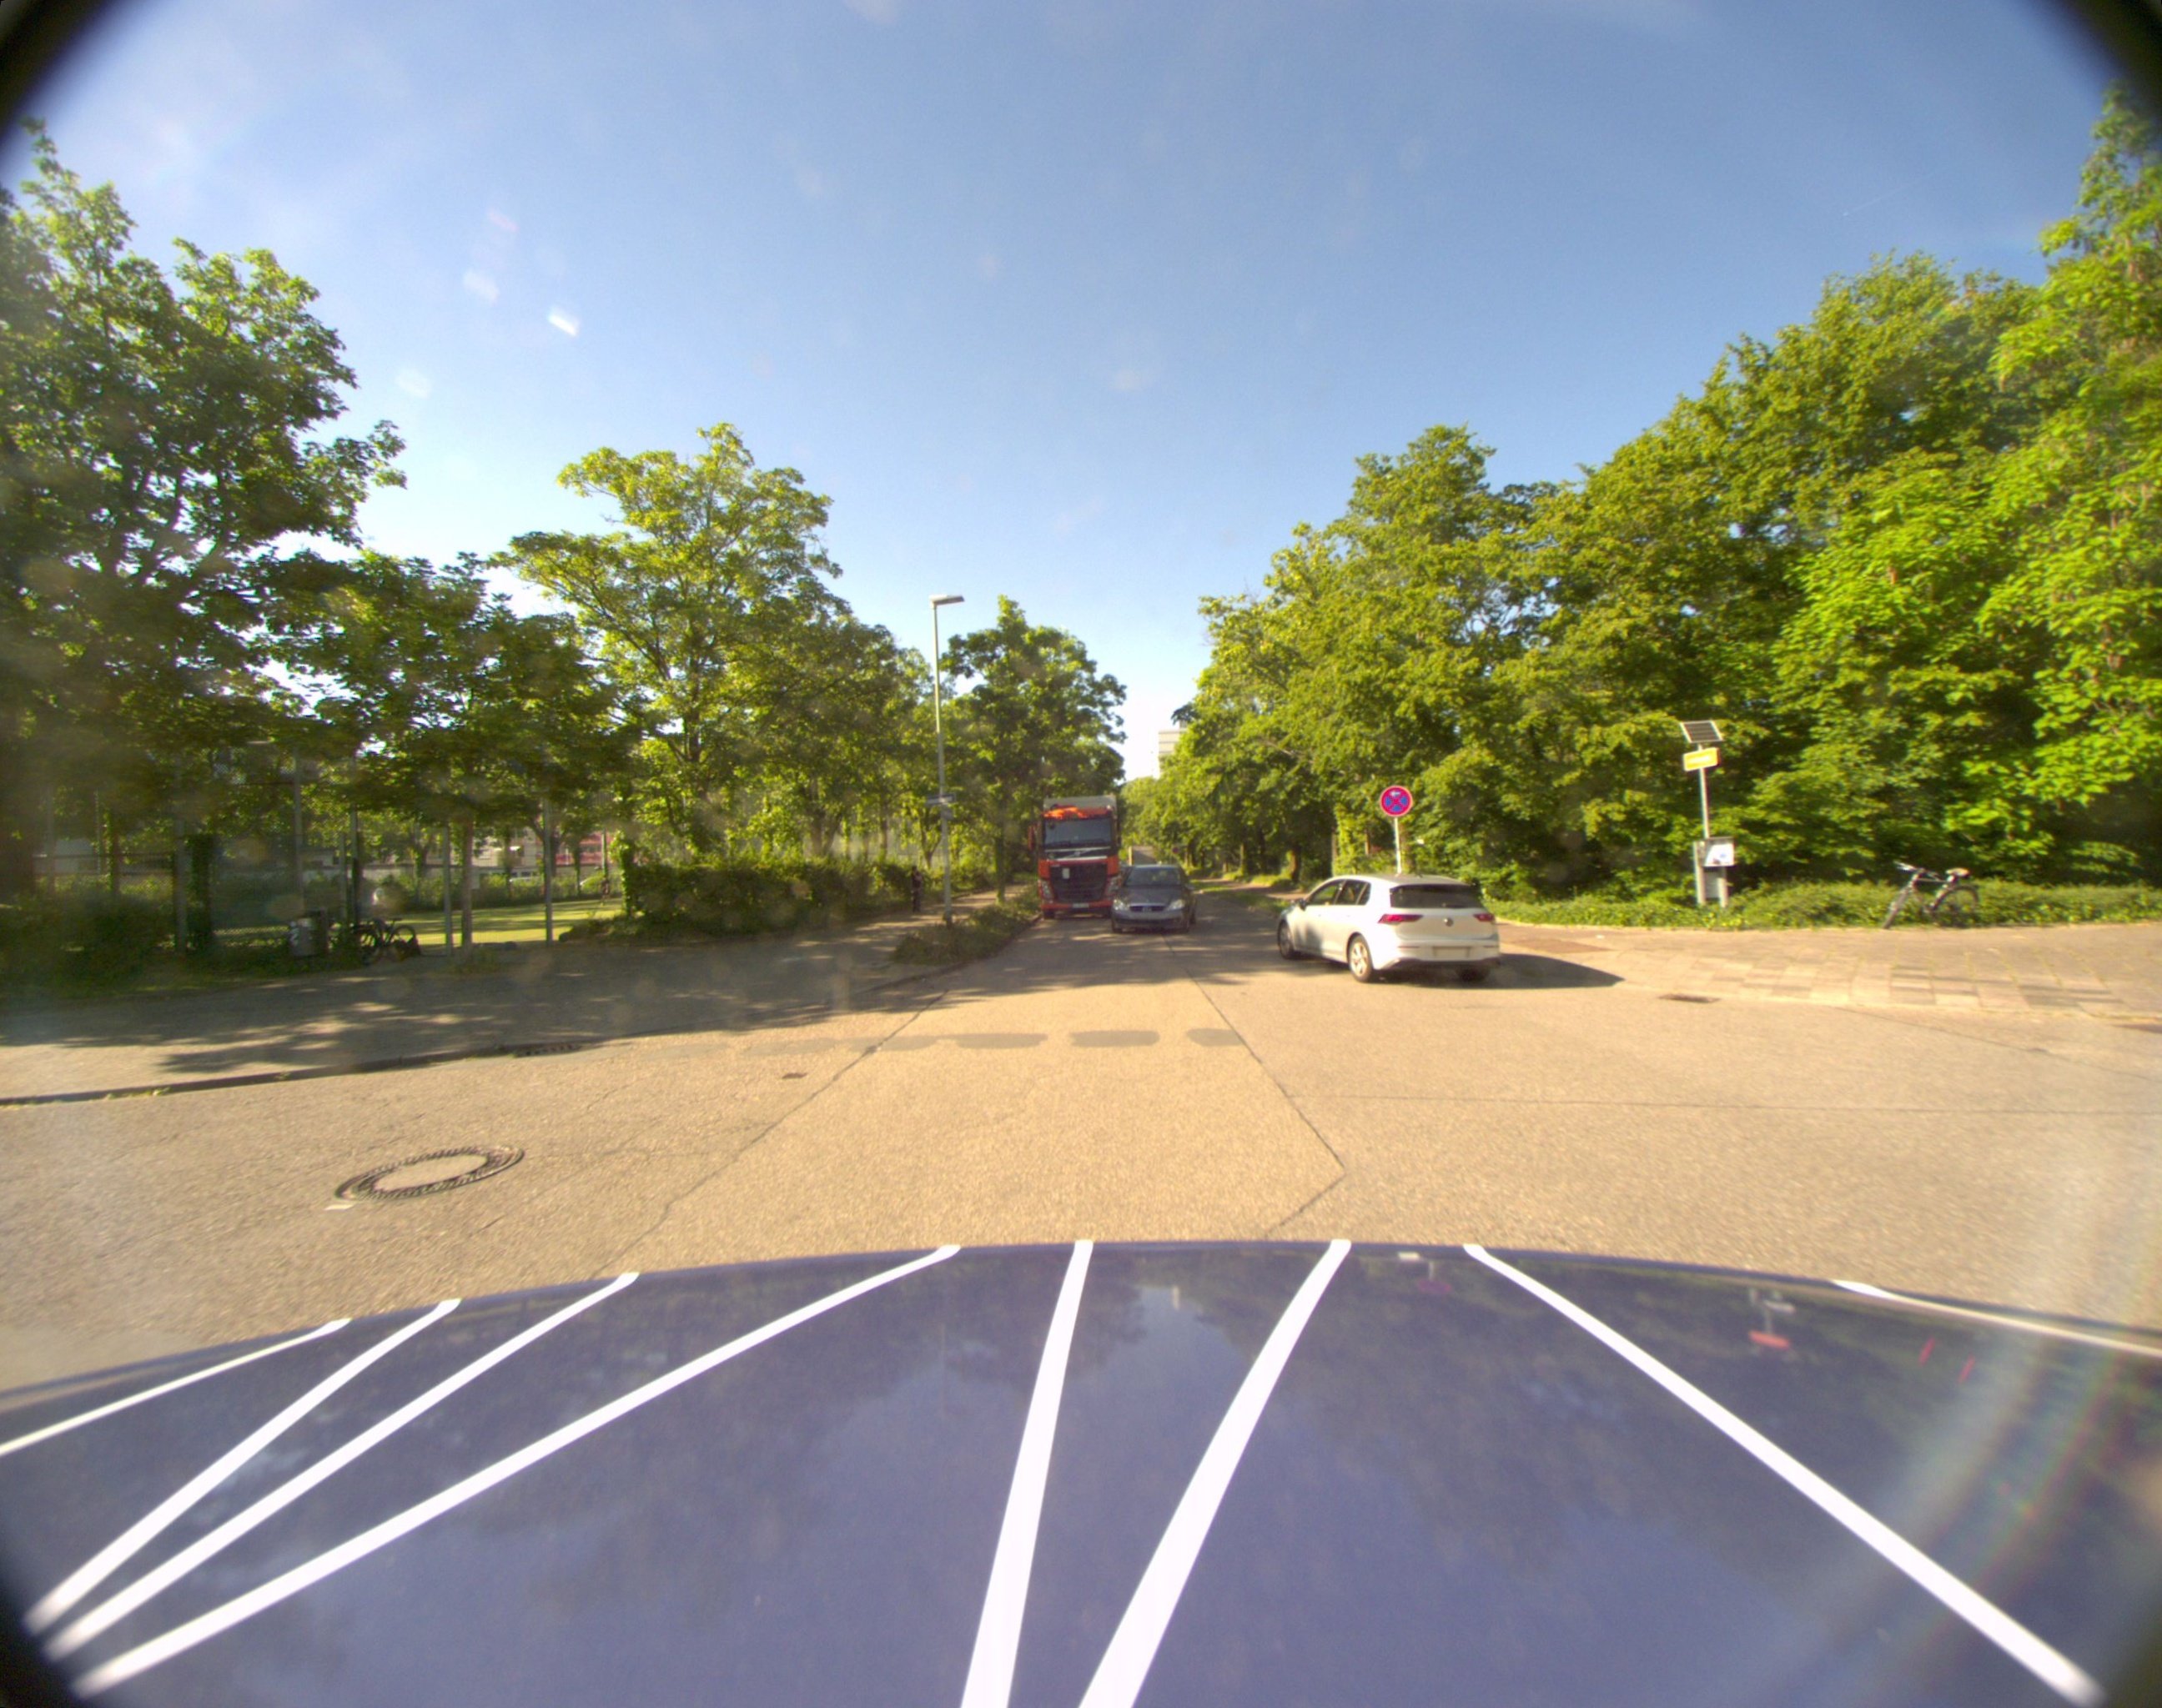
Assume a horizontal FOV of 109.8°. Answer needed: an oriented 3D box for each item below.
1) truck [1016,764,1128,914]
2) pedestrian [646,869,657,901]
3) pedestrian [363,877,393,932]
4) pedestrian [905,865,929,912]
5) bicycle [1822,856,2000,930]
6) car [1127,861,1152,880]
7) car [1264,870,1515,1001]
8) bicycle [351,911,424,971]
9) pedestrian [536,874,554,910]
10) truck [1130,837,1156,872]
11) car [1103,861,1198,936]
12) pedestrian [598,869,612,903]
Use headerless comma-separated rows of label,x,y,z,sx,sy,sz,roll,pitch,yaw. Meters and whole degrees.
truck,0.007,-0.386,27.490,3.166,4.319,10.586,-2,0,3
pedestrian,-21.159,1.530,37.435,0.317,1.526,0.402,-2,0,-2
pedestrian,-19.970,1.426,21.584,0.437,1.526,0.429,-2,0,-2
pedestrian,-5.708,1.190,26.467,0.641,1.628,0.641,-2,0,5
bicycle,13.781,0.646,12.680,1.902,1.146,0.760,-1,3,12
car,5.145,1.451,67.047,1.998,1.575,4.001,-2,-1,1
car,4.277,1.026,11.329,1.666,1.458,4.186,0,1,-6
bicycle,-12.199,1.511,13.380,0.294,0.952,0.909,-2,0,44
pedestrian,-23.145,1.633,32.793,0.437,1.526,0.429,-2,0,-2
truck,7.419,0.041,91.712,2.803,3.995,9.627,0,1,3
car,1.822,1.020,18.793,1.853,1.635,3.760,-2,-1,12
pedestrian,-21.368,1.437,34.119,0.320,1.526,0.393,-2,0,-2
